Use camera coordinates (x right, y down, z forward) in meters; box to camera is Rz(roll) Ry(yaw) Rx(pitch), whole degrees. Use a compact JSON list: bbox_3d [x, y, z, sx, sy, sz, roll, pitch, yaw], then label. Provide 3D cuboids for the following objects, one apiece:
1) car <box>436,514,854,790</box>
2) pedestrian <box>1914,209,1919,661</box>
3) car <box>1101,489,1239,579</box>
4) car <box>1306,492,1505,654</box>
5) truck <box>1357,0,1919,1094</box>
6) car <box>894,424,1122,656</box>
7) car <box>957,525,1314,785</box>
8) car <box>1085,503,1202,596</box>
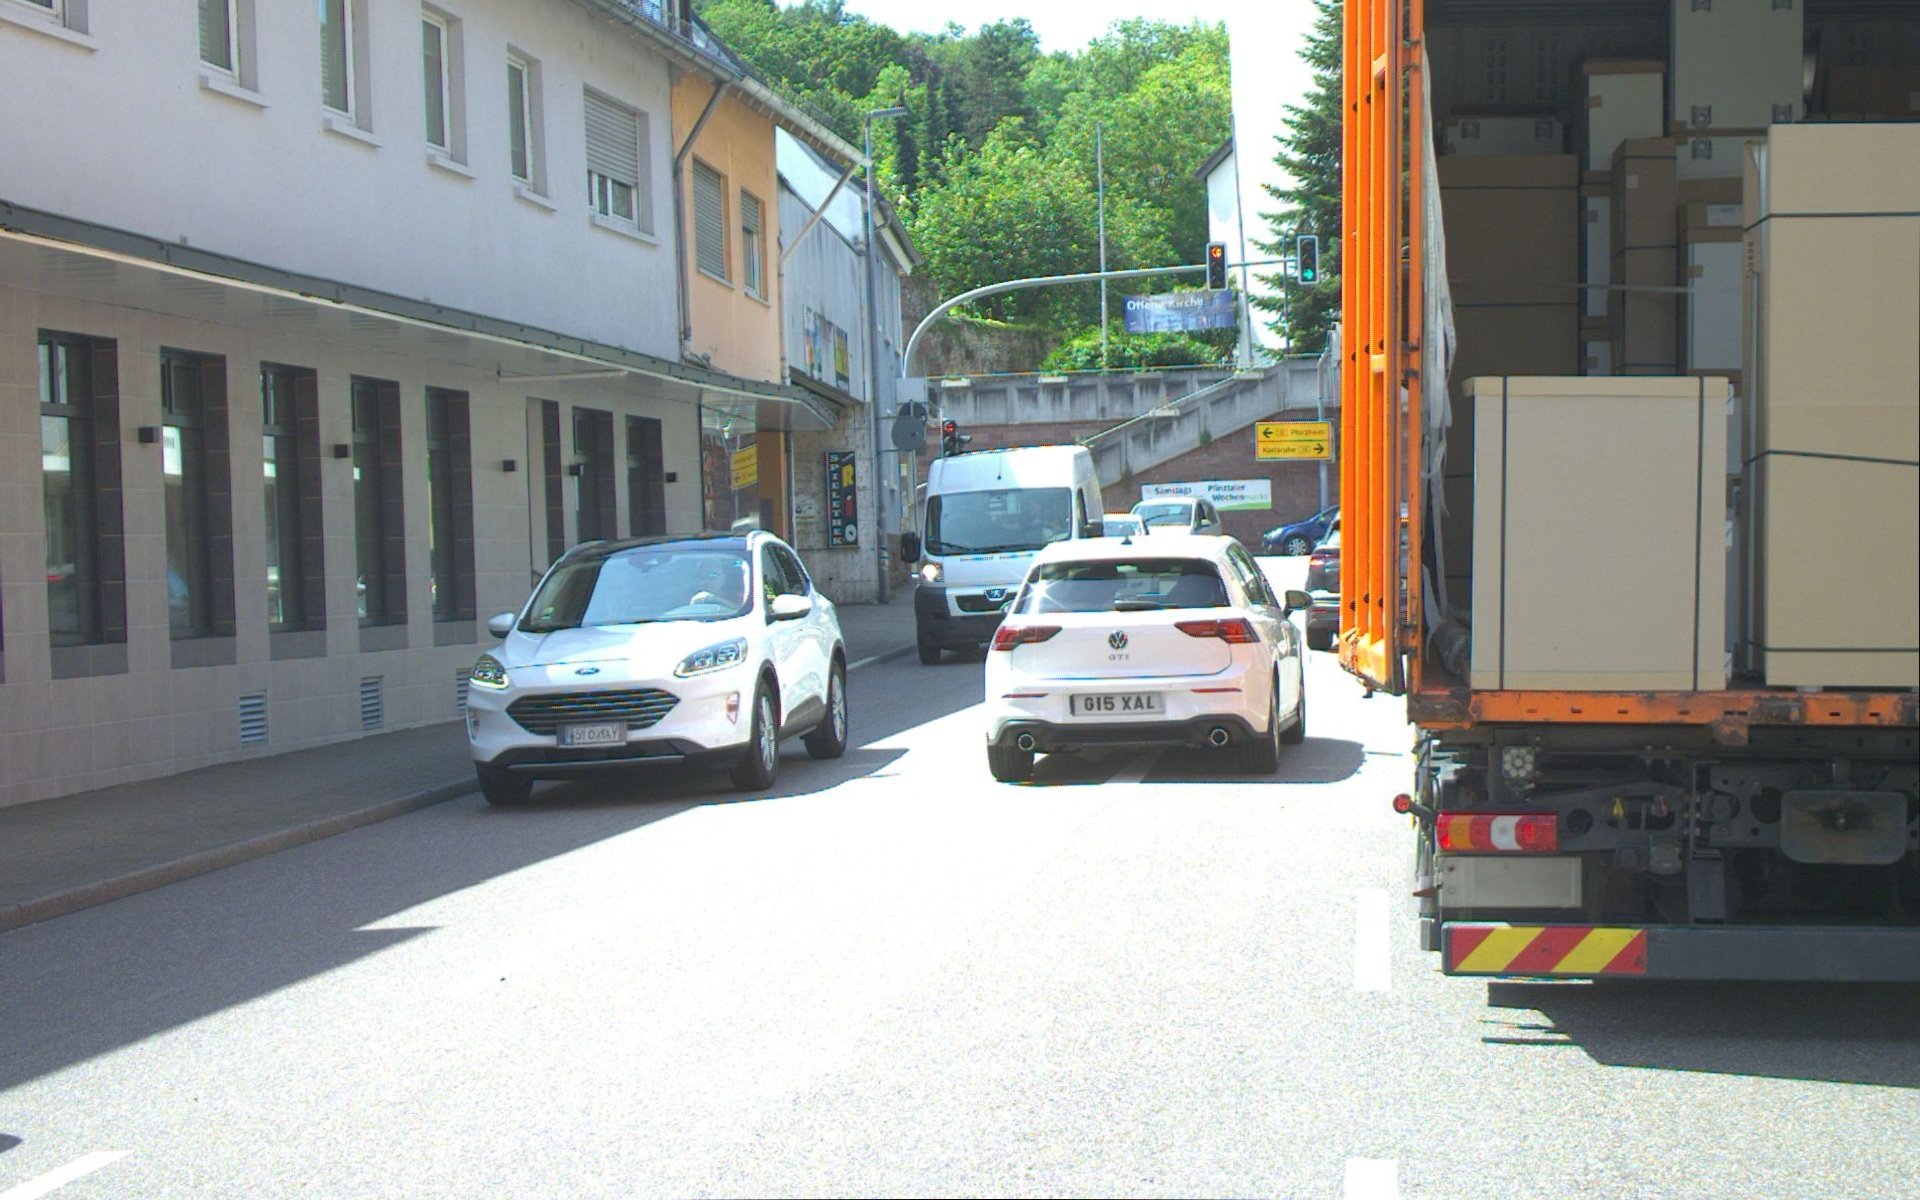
[{"bbox_3d":[-1.962,0.299,22.711,1.818,1.549,4.197,-4,0,7],"label":"car"},{"bbox_3d":[3.881,-0.645,12.302,0.750,1.750,0.927,1,0,7],"label":"pedestrian"},{"bbox_3d":[4.337,-1.373,70.559,1.681,1.611,3.818,-3,2,21],"label":"car"},{"bbox_3d":[4.977,-0.353,38.911,1.949,1.577,4.326,-1,3,4],"label":"car"},{"bbox_3d":[3.203,-0.770,14.650,2.609,3.931,9.990,1,2,9],"label":"truck"},{"bbox_3d":[0.681,-0.760,42.329,2.140,2.560,5.392,-3,1,7],"label":"car"},{"bbox_3d":[1.204,0.283,21.793,1.783,1.453,3.862,-1,1,10],"label":"car"},{"bbox_3d":[3.160,-0.876,58.743,1.597,1.450,3.446,-4,1,8],"label":"car"}]
